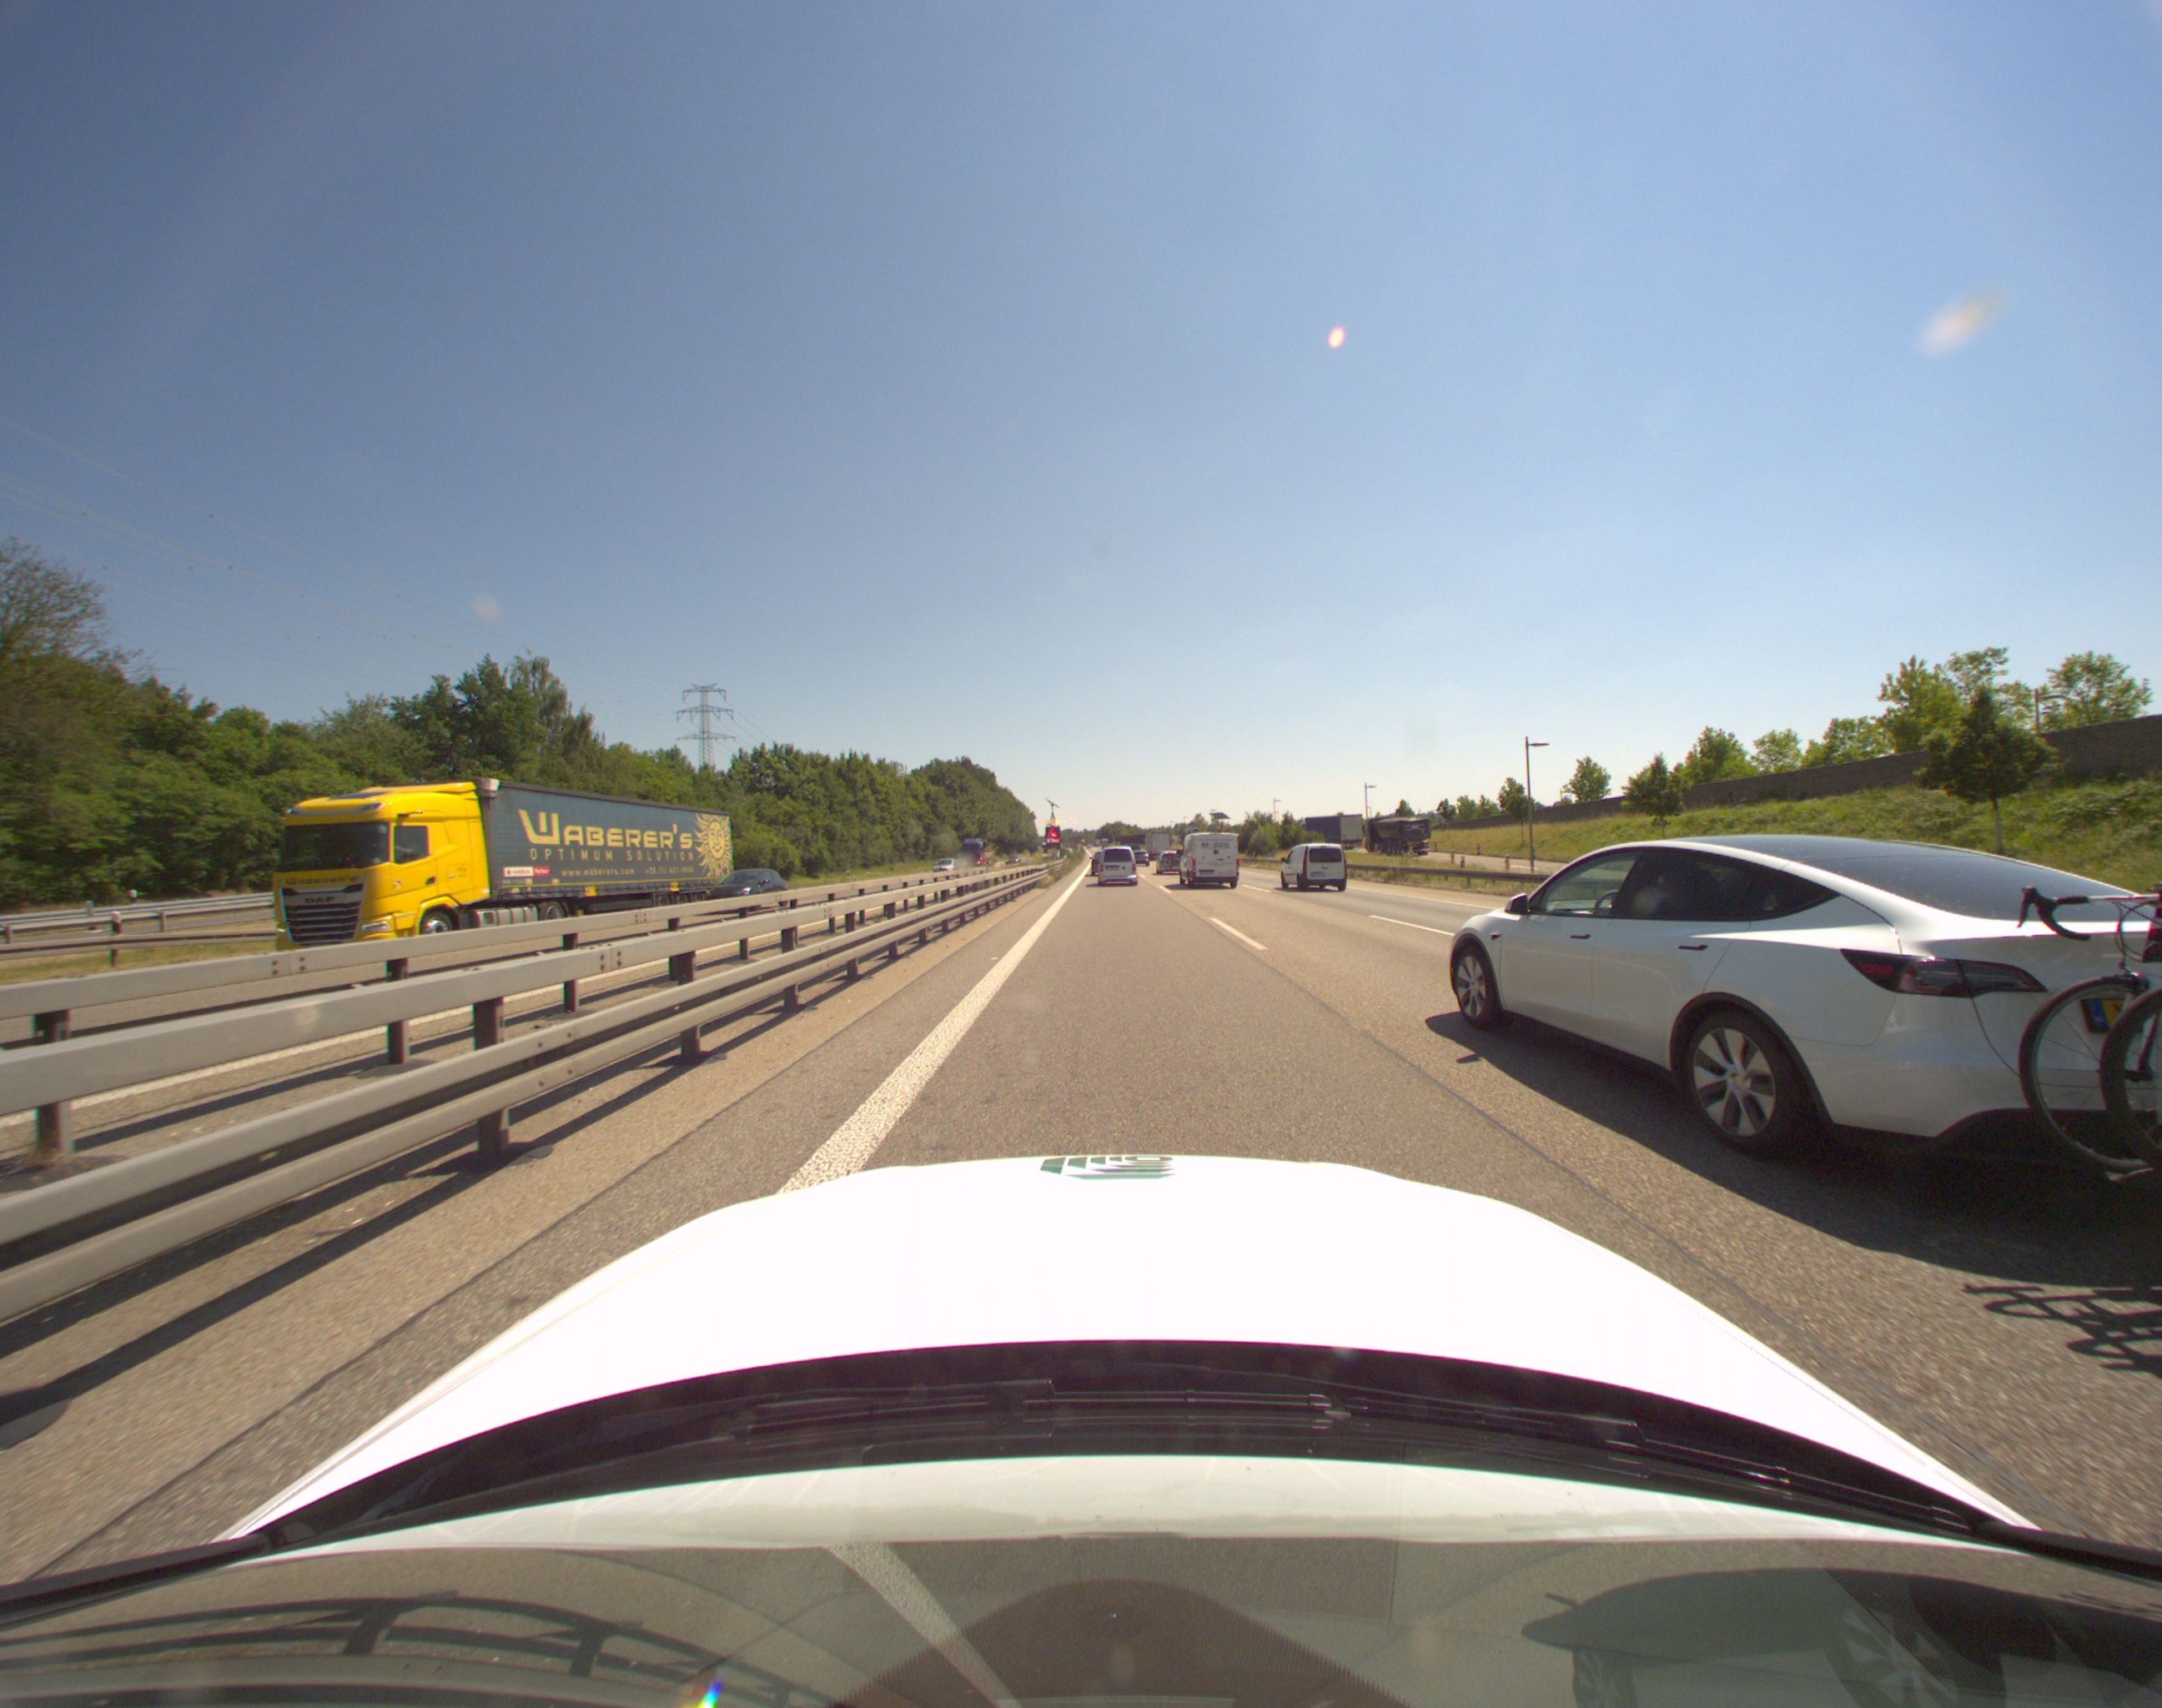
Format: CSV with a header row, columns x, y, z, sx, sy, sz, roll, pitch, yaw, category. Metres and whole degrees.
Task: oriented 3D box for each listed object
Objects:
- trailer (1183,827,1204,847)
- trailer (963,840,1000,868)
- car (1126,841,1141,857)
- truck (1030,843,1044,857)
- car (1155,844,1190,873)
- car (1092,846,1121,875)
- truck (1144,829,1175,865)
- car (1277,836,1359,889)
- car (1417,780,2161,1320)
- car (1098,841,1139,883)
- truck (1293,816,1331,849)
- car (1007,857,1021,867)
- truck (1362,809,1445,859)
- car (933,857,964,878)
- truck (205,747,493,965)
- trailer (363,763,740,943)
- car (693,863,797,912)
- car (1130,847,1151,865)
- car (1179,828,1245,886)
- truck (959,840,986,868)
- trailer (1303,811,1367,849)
x,y,z,sx,sy,sz,roll,pitch,yaw,category
25.579,-3.786,185.740,2.596,4.258,18.423,0,0,1,trailer
-14.140,-0.020,117.224,2.985,3.558,16.026,-2,0,1,trailer
6.325,-0.575,99.031,1.668,1.891,4.091,-2,0,2,car
-12.478,-0.988,231.189,2.985,3.802,10.791,-2,0,1,truck
5.985,0.289,53.582,1.968,1.733,4.091,-2,0,2,car
1.652,0.386,52.165,1.738,1.701,4.091,-2,0,3,car
11.340,-1.002,119.034,3.773,4.999,12.525,0,0,2,truck
9.126,0.315,31.739,1.944,1.838,4.178,-2,0,0,car
4.236,0.594,5.267,1.943,1.636,5.602,0,0,1,car
1.713,0.367,37.781,1.738,1.764,4.091,-2,0,2,car
30.155,-2.769,106.375,3.044,4.083,6.394,0,0,-1,truck
-9.665,1.086,118.032,1.766,1.334,4.915,-3,0,-4,car
28.859,-1.640,73.748,3.769,4.083,12.538,0,0,6,truck
-10.906,1.086,67.214,1.775,1.530,3.884,-4,0,1,car
-16.211,0.043,18.378,3.163,4.341,3.514,-2,0,1,truck
-16.013,-0.034,27.081,3.163,4.341,13.815,-2,0,1,trailer
-11.840,1.137,29.045,1.705,1.468,4.150,-4,0,3,car
5.888,0.194,81.462,1.894,1.672,4.091,-2,0,2,car
5.539,0.122,35.137,2.173,2.254,5.366,-1,0,2,car
-14.337,-0.015,107.692,2.985,3.558,3.118,-2,0,1,truck
30.326,-2.743,98.161,3.043,4.083,14.250,0,0,-1,trailer
